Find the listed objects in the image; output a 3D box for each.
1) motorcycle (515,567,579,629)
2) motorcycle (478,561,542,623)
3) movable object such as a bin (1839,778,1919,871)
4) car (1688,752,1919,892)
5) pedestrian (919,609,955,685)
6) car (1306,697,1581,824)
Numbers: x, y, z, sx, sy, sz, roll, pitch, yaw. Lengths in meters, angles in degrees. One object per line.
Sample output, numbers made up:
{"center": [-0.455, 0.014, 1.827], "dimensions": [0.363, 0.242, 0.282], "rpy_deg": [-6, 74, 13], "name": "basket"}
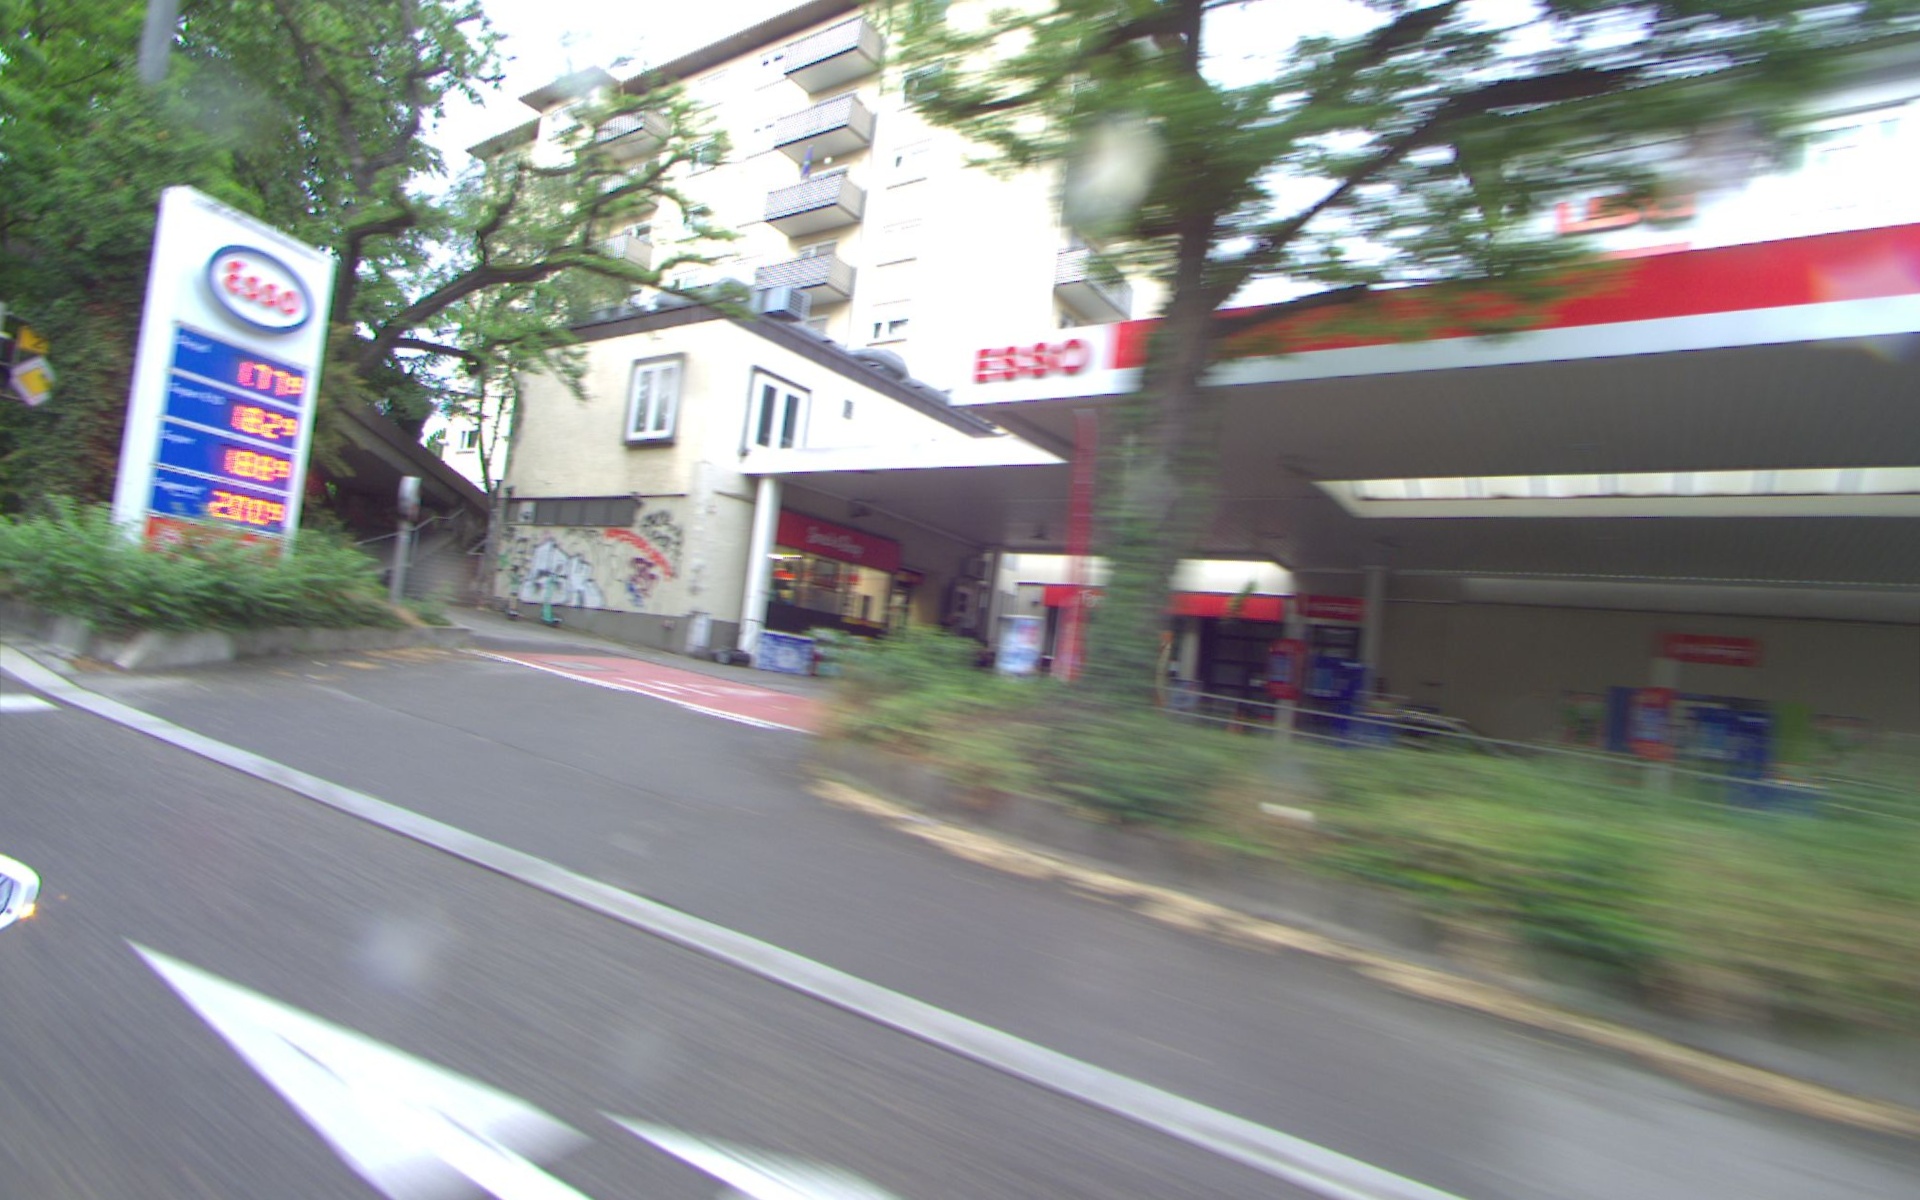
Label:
{"center": [-9.586, -0.052, 23.325], "dimensions": [1.739, 1.205, 0.533], "rpy_deg": [8, 0, 42], "name": "motorcycle"}
{"center": [-10.347, -0.192, 23.119], "dimensions": [1.739, 1.205, 0.533], "rpy_deg": [8, 0, 42], "name": "motorcycle"}
{"center": [17.596, 4.173, 18.077], "dimensions": [2.469, 1.441, 1.164], "rpy_deg": [7, -3, 36], "name": "movable object such as a bin"}
{"center": [13.436, 3.405, 15.084], "dimensions": [3.939, 1.525, 1.799], "rpy_deg": [5, -6, 36], "name": "car"}
{"center": [-0.613, 1.268, 26.819], "dimensions": [0.661, 1.888, 0.688], "rpy_deg": [9, -4, -2], "name": "pedestrian"}
{"center": [8.791, 2.895, 18.411], "dimensions": [4.167, 1.525, 1.799], "rpy_deg": [5, -6, 36], "name": "car"}
